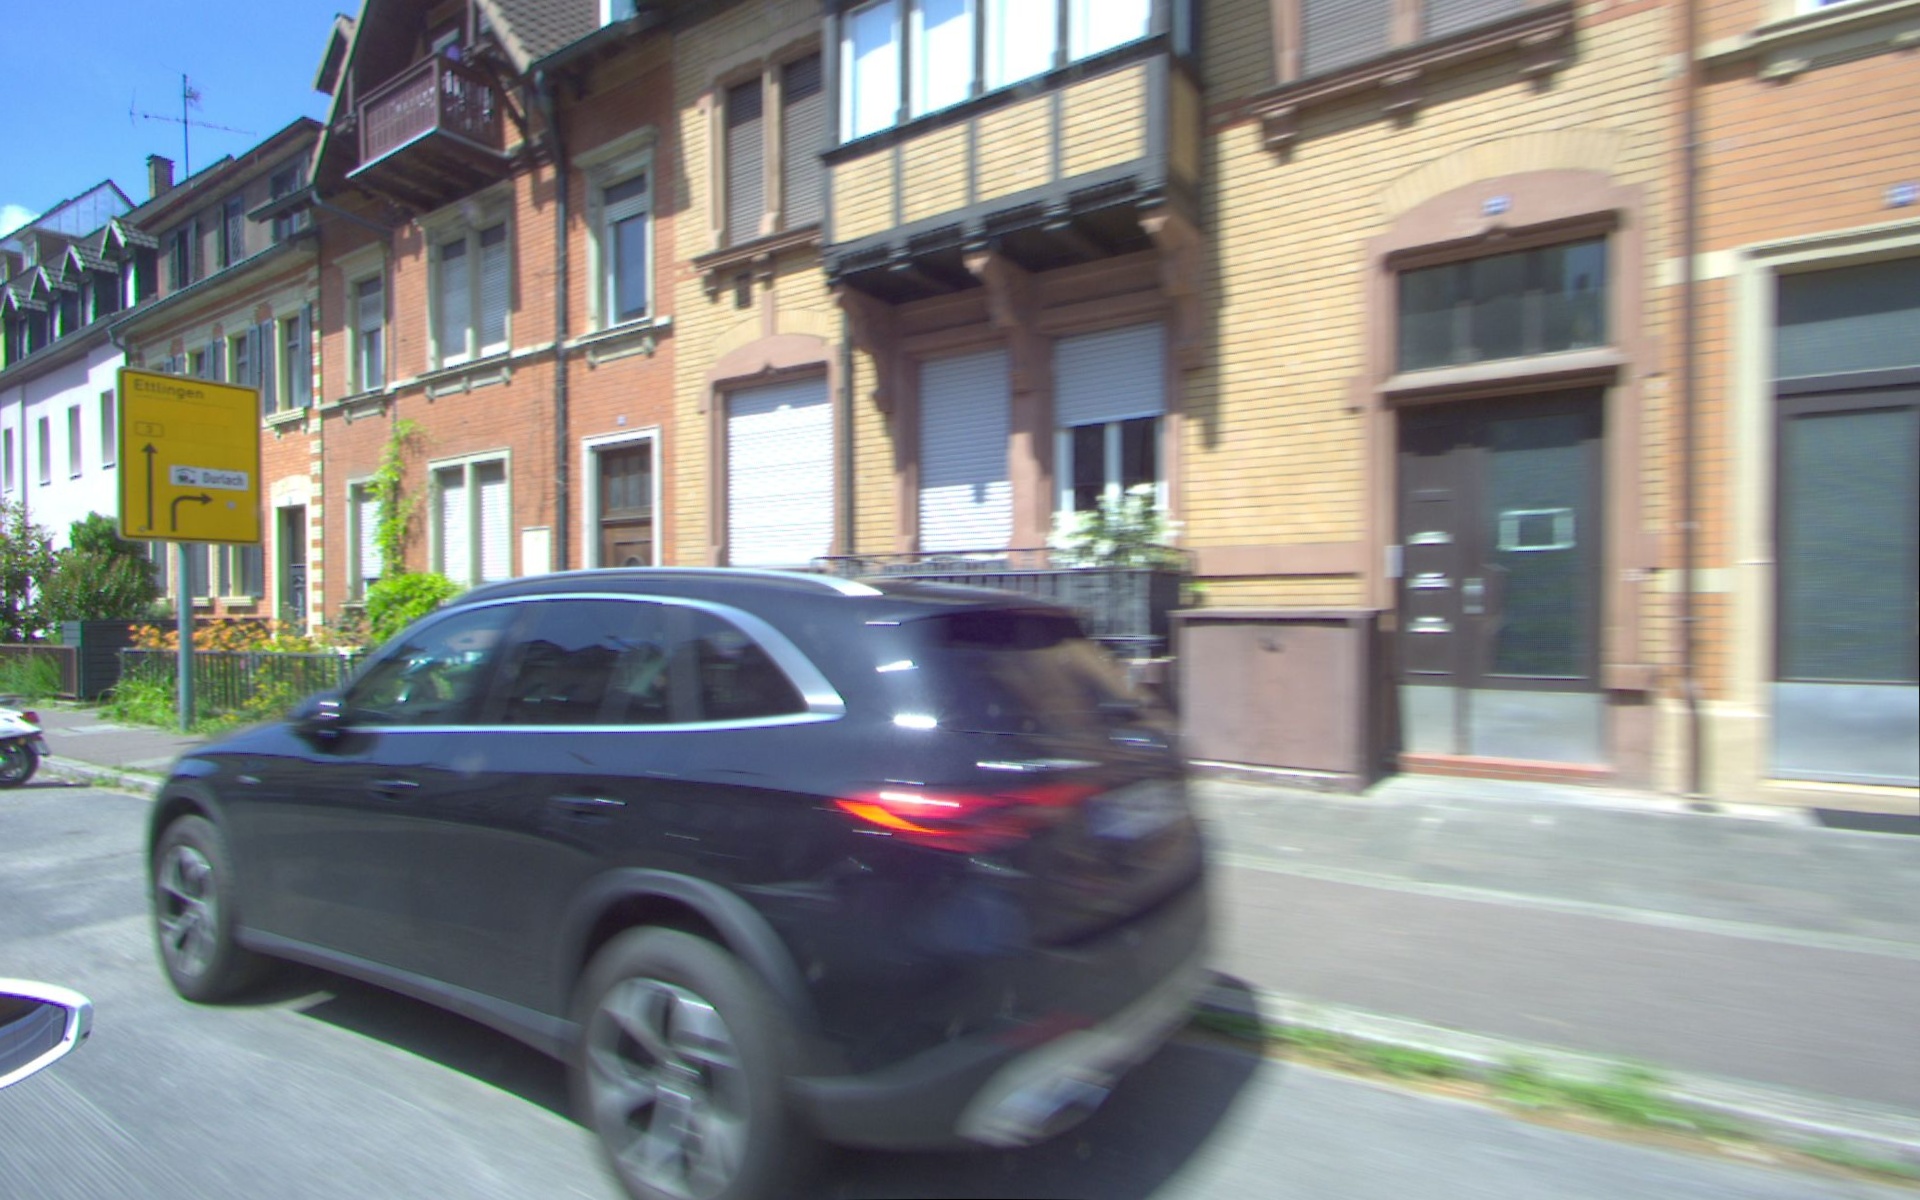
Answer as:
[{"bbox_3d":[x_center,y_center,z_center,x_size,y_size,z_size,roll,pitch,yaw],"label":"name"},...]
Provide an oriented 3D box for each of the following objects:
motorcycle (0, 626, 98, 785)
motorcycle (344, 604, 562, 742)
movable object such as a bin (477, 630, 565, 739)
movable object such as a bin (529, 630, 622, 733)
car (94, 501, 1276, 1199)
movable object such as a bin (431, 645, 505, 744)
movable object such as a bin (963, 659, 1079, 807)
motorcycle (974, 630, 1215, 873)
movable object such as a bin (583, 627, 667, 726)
[{"bbox_3d":[-9.398,0.956,9.194,1.962,1.403,1.110,0,0,-19],"label":"motorcycle"},{"bbox_3d":[-6.020,0.799,12.034,0.924,1.428,2.124,0,2,32],"label":"motorcycle"},{"bbox_3d":[-4.665,0.877,10.643,0.717,1.090,0.555,0,1,34],"label":"movable object such as a bin"},{"bbox_3d":[-4.283,0.885,11.170,0.738,1.069,0.657,0,1,34],"label":"movable object such as a bin"},{"bbox_3d":[-1.317,0.666,3.970,4.559,1.684,1.989,0,1,33],"label":"car"},{"bbox_3d":[-5.011,0.944,10.198,0.519,0.954,0.480,0,1,34],"label":"movable object such as a bin"},{"bbox_3d":[0.446,0.908,7.099,0.531,0.919,0.786,0,1,30],"label":"movable object such as a bin"},{"bbox_3d":[0.769,0.827,5.877,1.338,1.254,0.439,0,2,32],"label":"motorcycle"},{"bbox_3d":[-3.922,0.875,11.734,0.750,1.091,0.607,0,1,34],"label":"movable object such as a bin"}]
